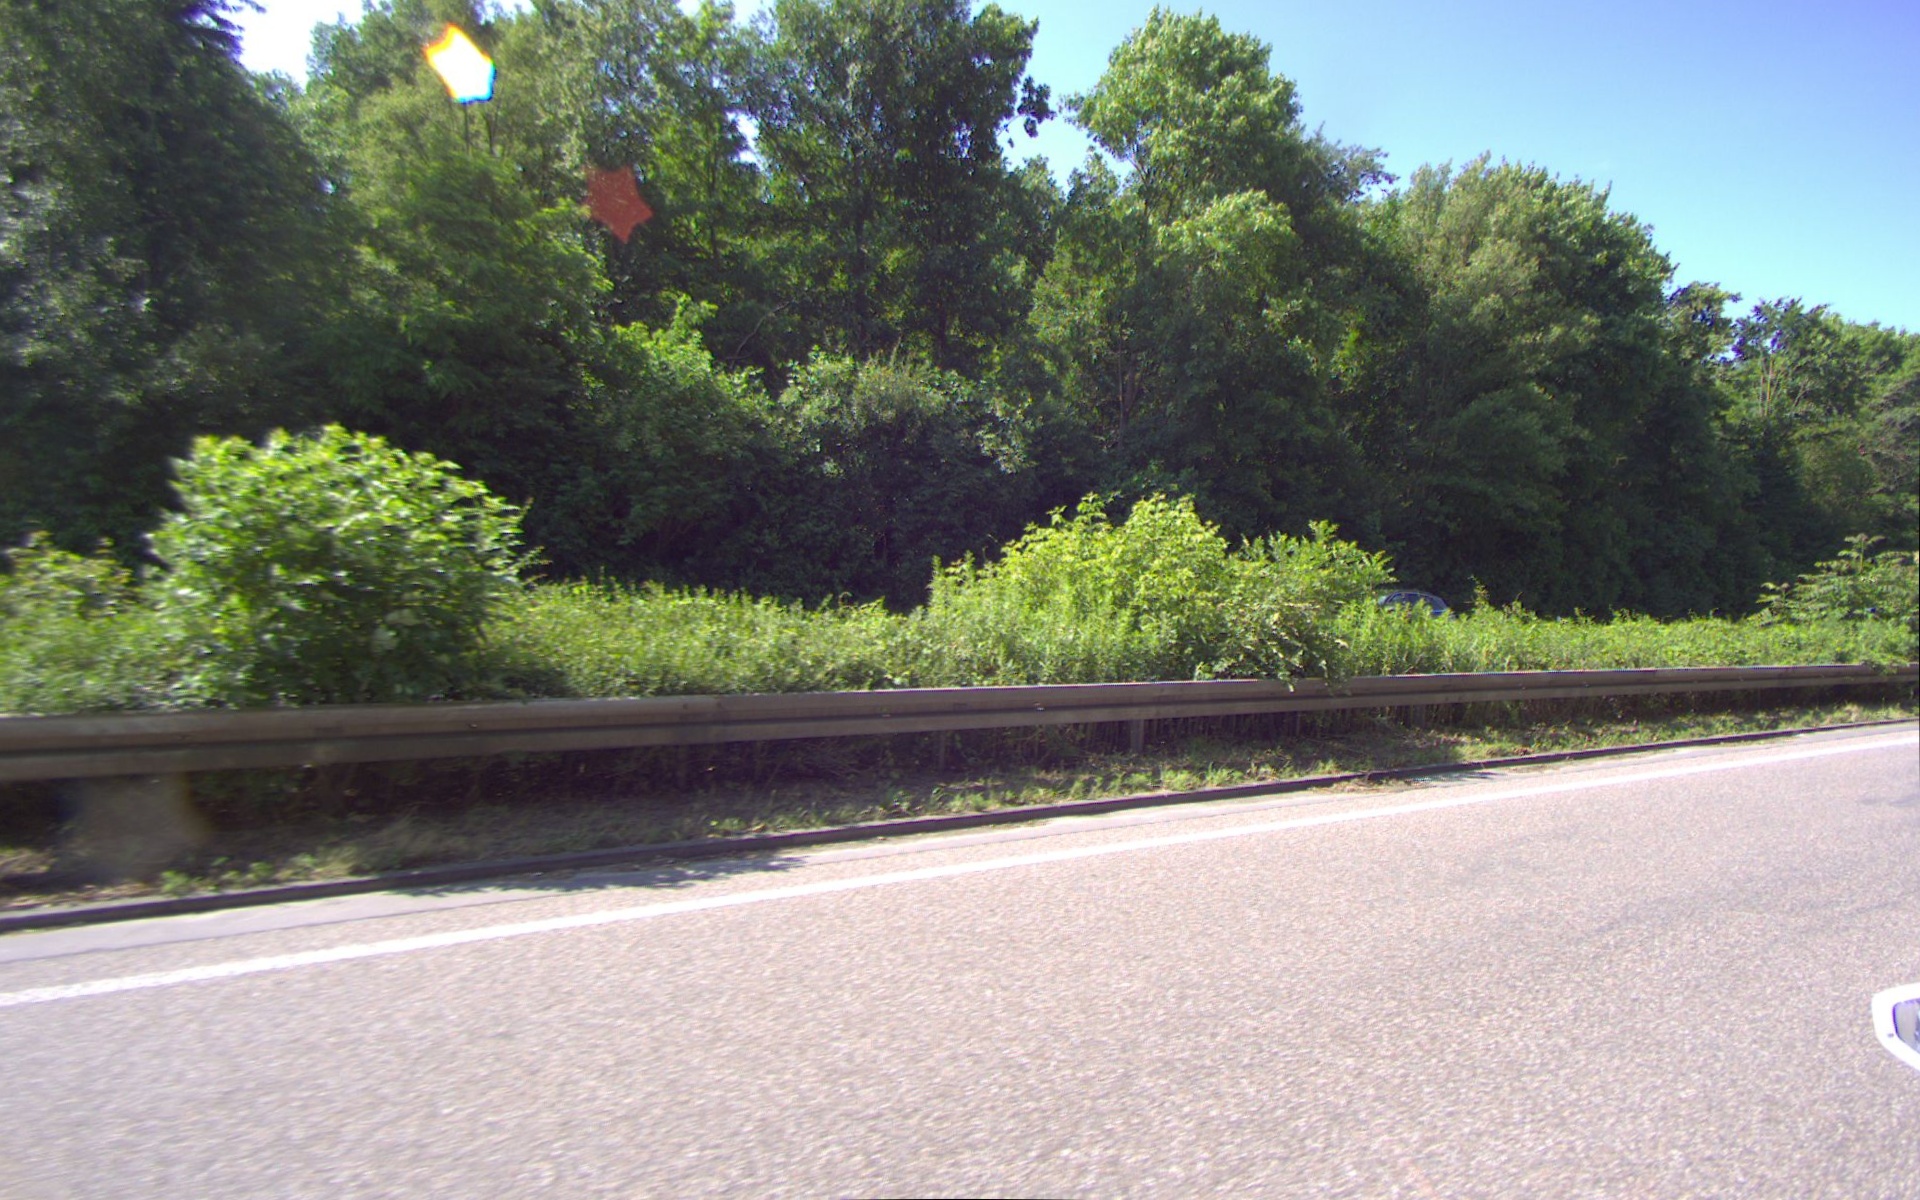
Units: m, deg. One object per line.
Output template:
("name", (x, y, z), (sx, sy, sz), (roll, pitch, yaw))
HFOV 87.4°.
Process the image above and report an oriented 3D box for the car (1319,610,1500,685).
("car", (10.911, 1.091, 24.276), (4.660, 1.684, 1.684), (1, -1, -31))
